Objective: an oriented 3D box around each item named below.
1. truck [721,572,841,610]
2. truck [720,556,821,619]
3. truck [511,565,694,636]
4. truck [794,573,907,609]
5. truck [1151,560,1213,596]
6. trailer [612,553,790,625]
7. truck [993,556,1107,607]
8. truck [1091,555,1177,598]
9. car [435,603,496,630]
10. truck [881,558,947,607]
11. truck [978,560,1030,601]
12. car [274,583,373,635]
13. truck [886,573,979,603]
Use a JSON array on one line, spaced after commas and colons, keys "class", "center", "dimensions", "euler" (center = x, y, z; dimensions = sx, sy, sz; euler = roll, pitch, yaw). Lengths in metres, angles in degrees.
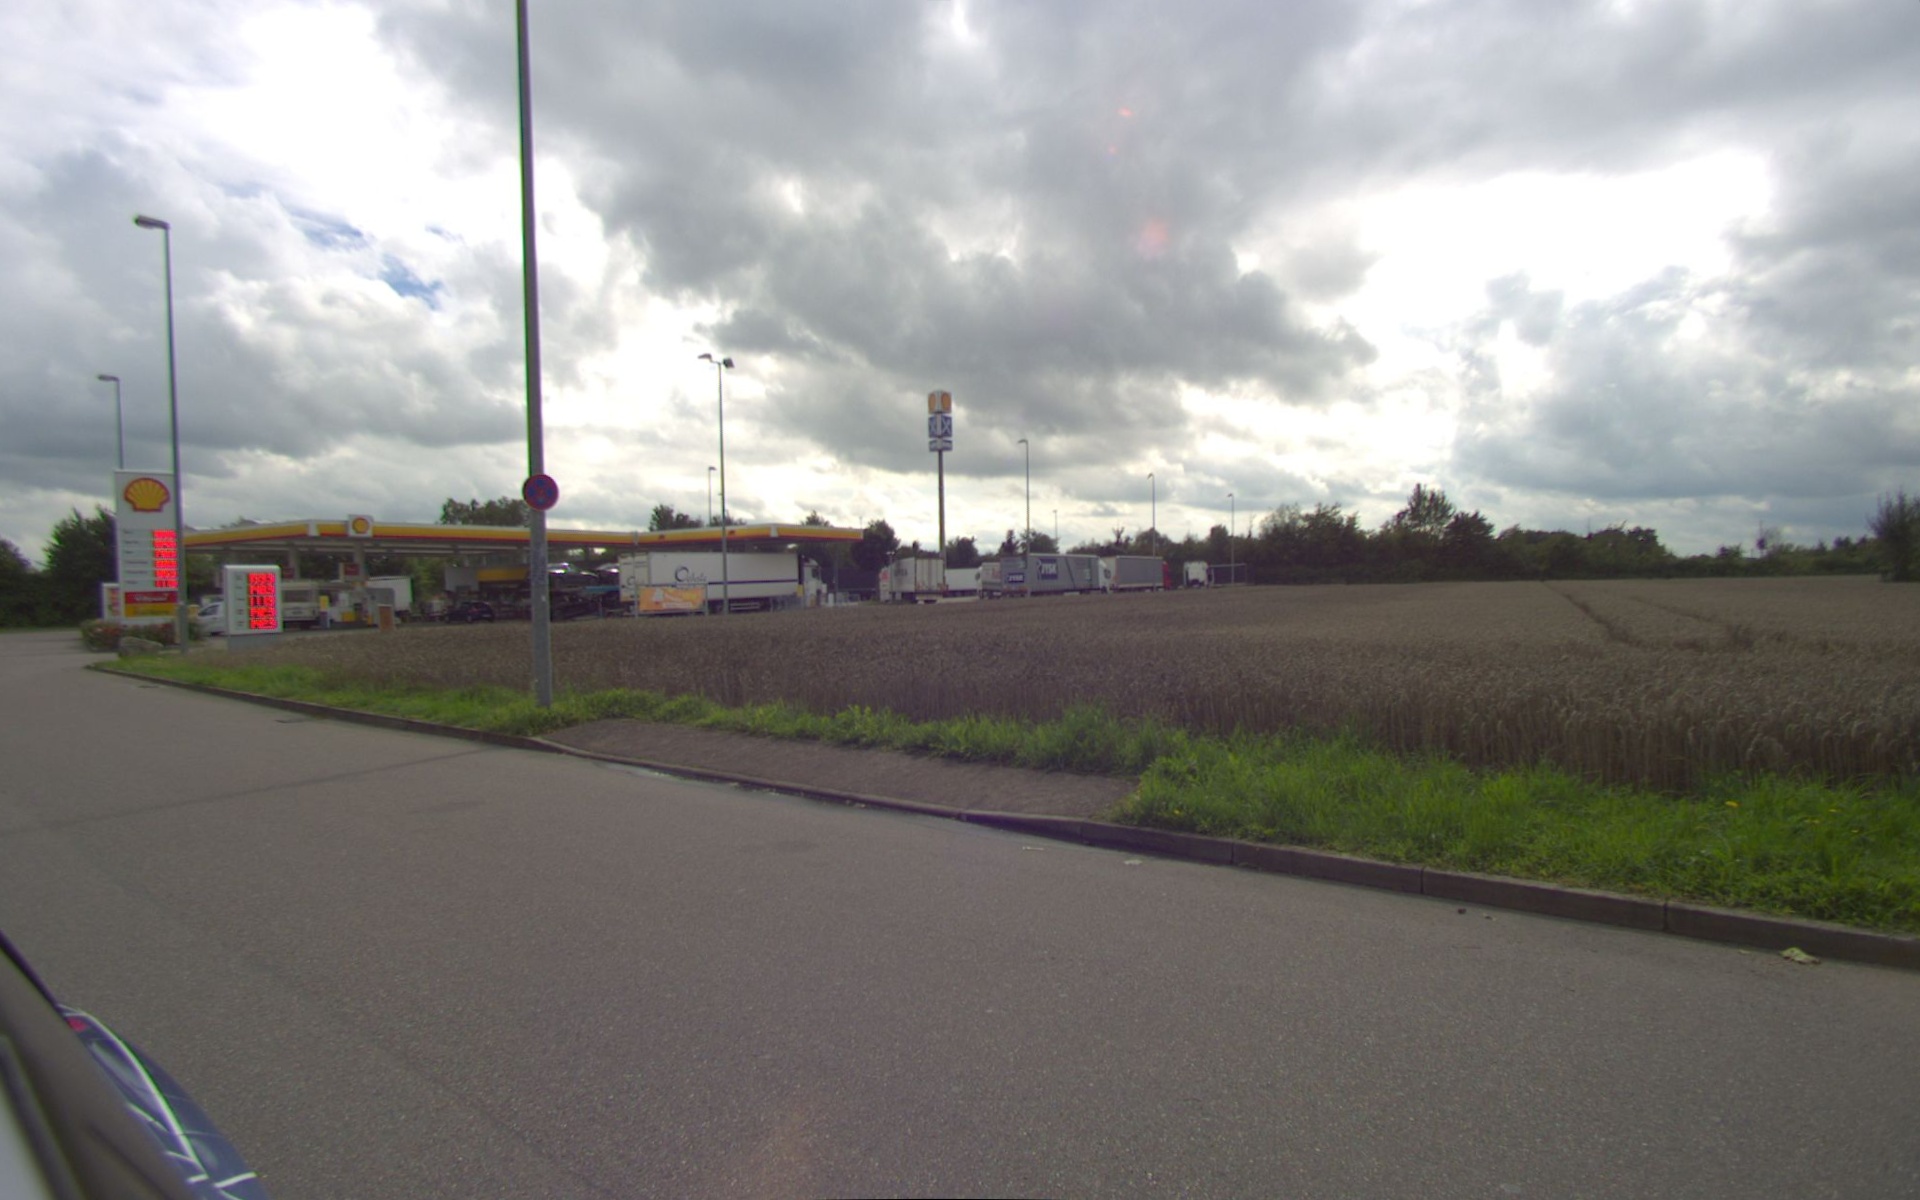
[{"class": "truck", "center": [-19.522, -1.006, 110.651], "dimensions": [12.593, 3.922, 2.832], "euler": [-1, 1, -15]}, {"class": "truck", "center": [-12.847, -0.881, 69.230], "dimensions": [2.702, 4.055, 7.096], "euler": [-2, 0, 30]}, {"class": "truck", "center": [-21.825, -0.112, 63.198], "dimensions": [2.734, 3.953, 13.160], "euler": [0, 1, 22]}, {"class": "truck", "center": [-12.880, -1.120, 119.219], "dimensions": [12.796, 3.922, 2.832], "euler": [-1, 1, -14]}, {"class": "truck", "center": [25.681, -2.525, 116.461], "dimensions": [2.815, 3.922, 12.669], "euler": [0, 1, 32]}, {"class": "trailer", "center": [-15.929, -0.766, 63.953], "dimensions": [2.702, 4.055, 12.717], "euler": [-2, 0, 30]}, {"class": "truck", "center": [7.902, -1.591, 85.010], "dimensions": [2.815, 3.922, 15.292], "euler": [0, 1, 32]}, {"class": "truck", "center": [17.592, -2.356, 100.947], "dimensions": [2.815, 3.922, 15.292], "euler": [0, 1, 32]}, {"class": "car", "center": [-32.717, 1.090, 66.973], "dimensions": [3.742, 1.613, 1.701], "euler": [-2, 0, 27]}, {"class": "truck", "center": [-4.429, -1.585, 92.524], "dimensions": [2.913, 4.143, 14.791], "euler": [-1, 1, -15]}, {"class": "truck", "center": [4.722, -2.069, 111.755], "dimensions": [2.946, 4.141, 11.601], "euler": [-2, 1, -11]}, {"class": "car", "center": [-36.846, 0.483, 58.787], "dimensions": [2.192, 2.807, 5.811], "euler": [-2, 0, -2]}, {"class": "truck", "center": [-3.870, -1.697, 142.453], "dimensions": [12.593, 3.922, 2.832], "euler": [-1, 1, -15]}]
